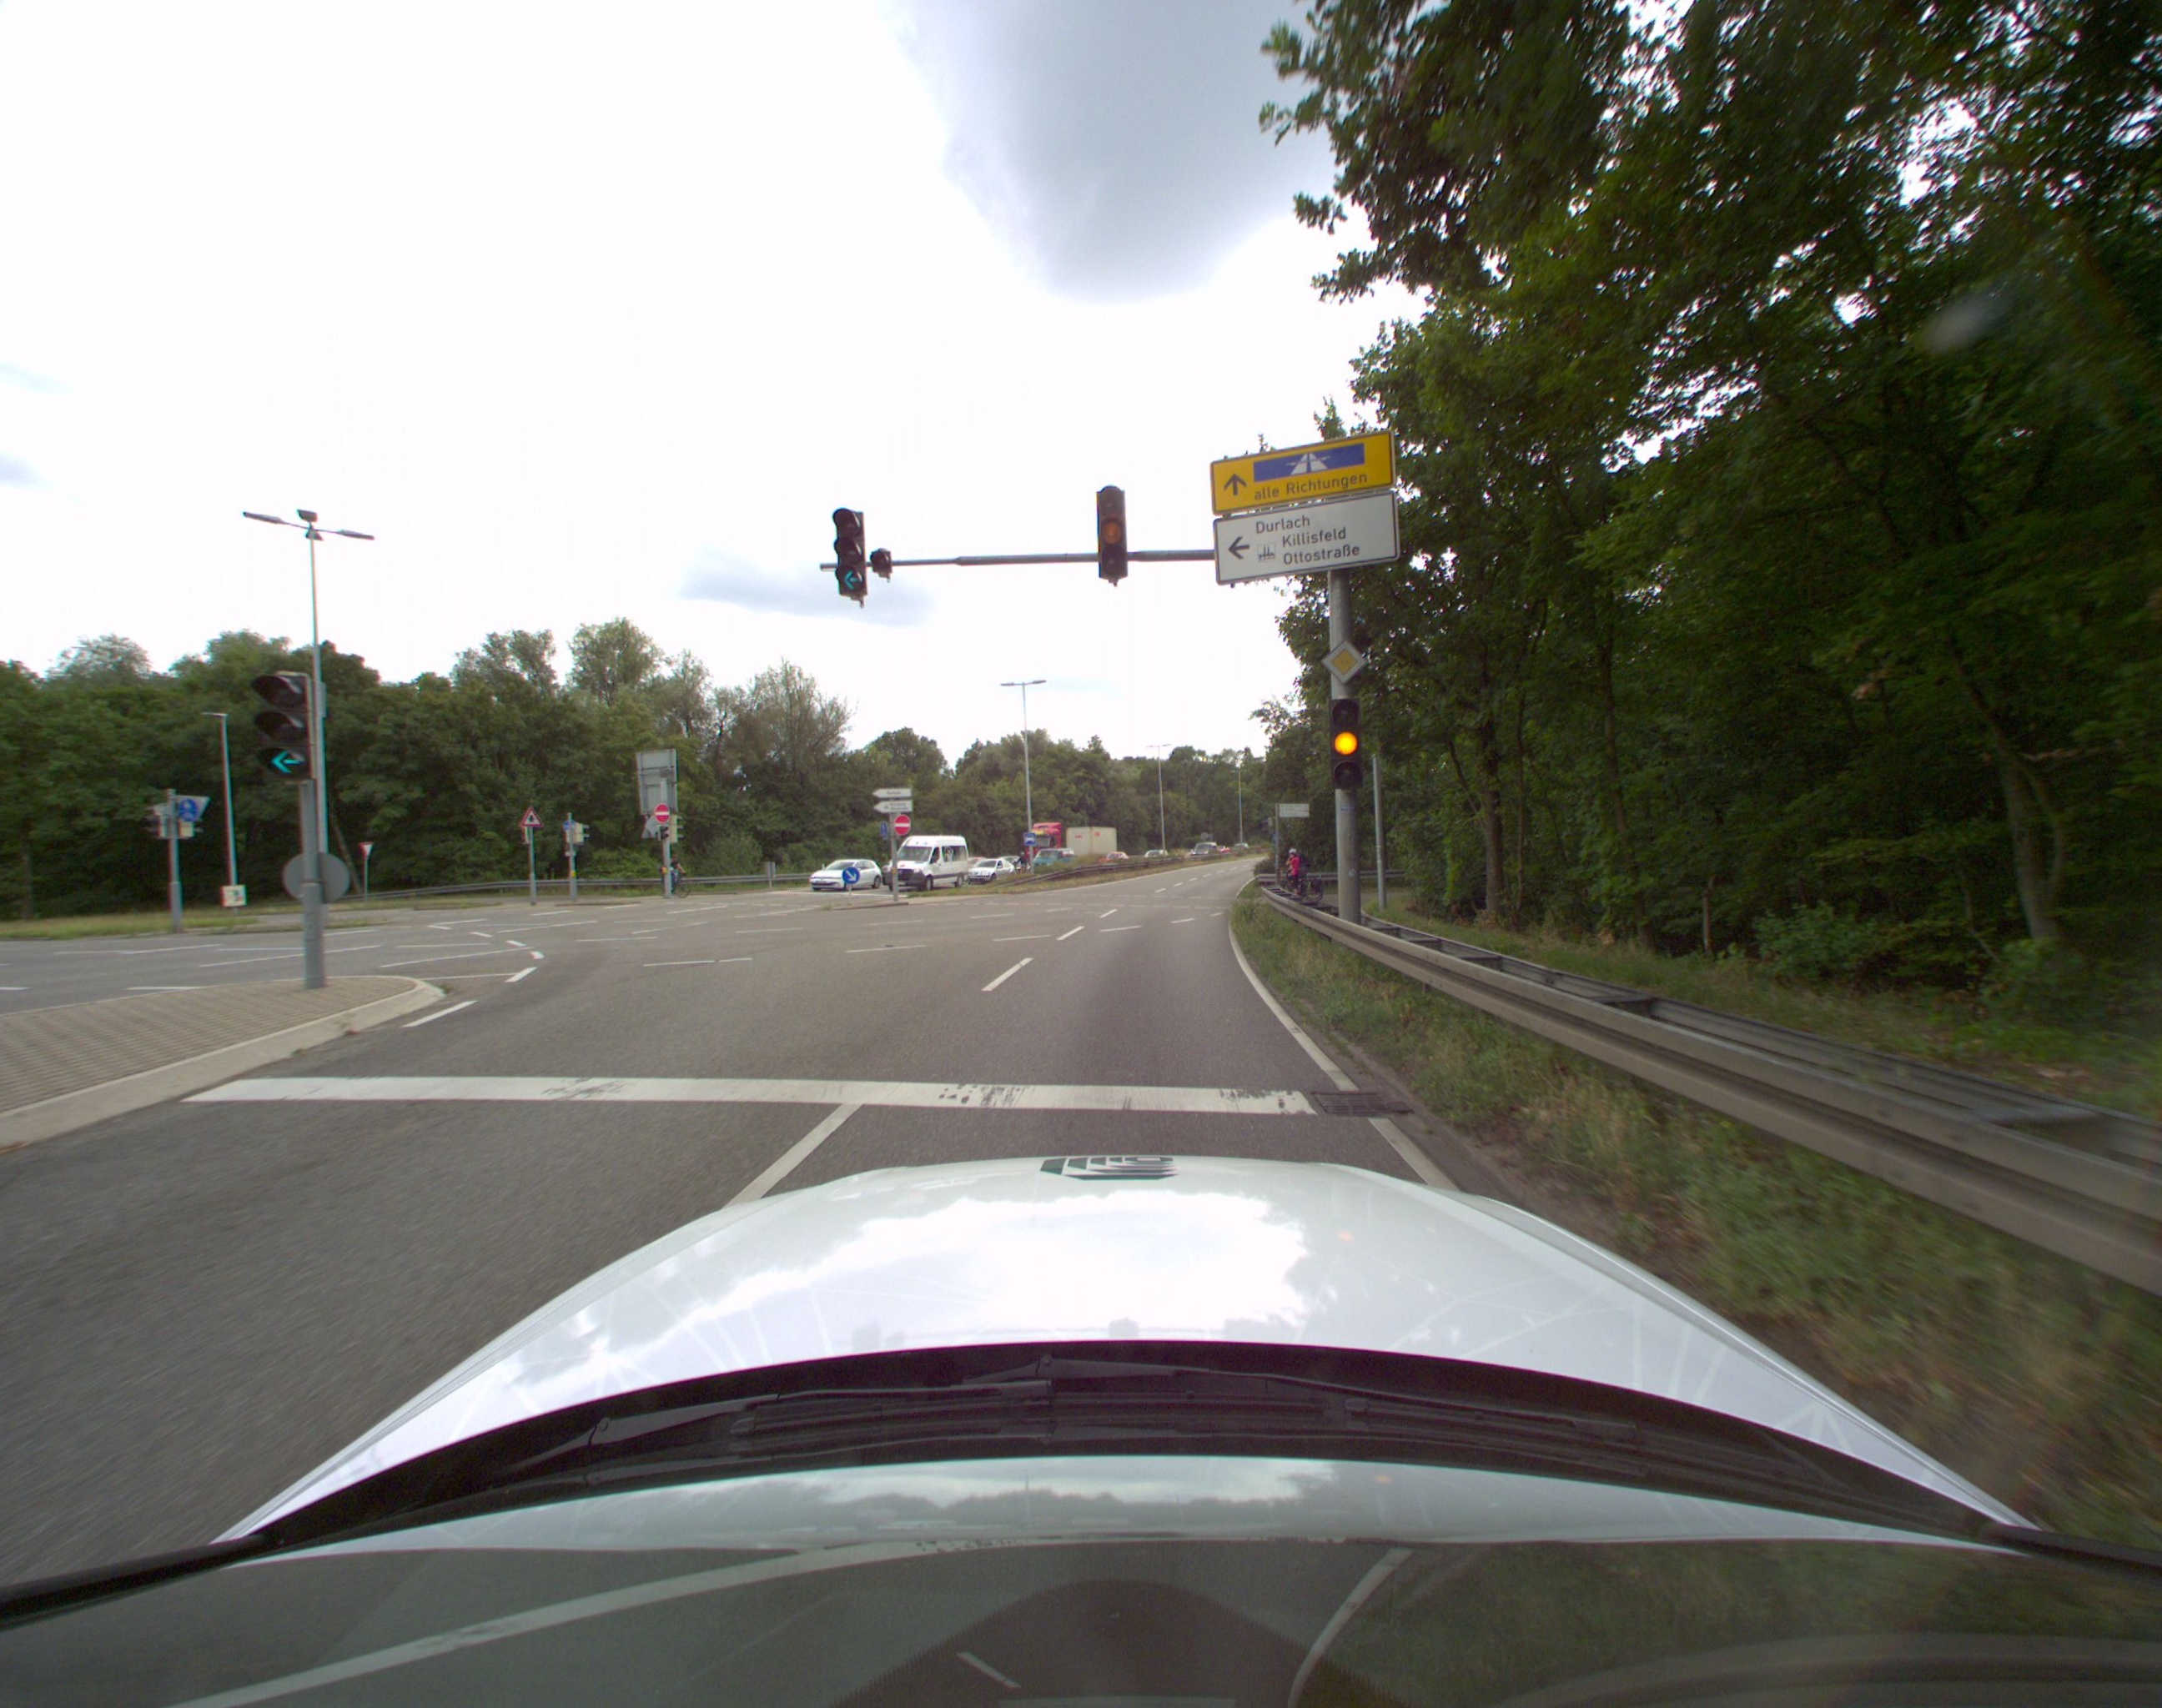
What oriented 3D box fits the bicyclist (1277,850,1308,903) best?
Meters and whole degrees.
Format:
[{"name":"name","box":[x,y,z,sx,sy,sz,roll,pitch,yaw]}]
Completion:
[{"name":"bicyclist","box":[7.029,0.746,27.064,0.843,1.732,0.640,-2,-1,25]}]

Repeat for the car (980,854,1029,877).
[{"name":"car","box":[-5.311,0.776,57.040,1.790,1.466,4.298,-1,0,18]}]

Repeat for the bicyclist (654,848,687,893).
[{"name":"bicyclist","box":[-16.275,0.662,32.292,0.736,1.735,0.805,-3,-1,22]}]

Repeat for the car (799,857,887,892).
[{"name":"car","box":[-11.229,0.925,38.778,1.979,1.547,4.556,-1,0,14]}]

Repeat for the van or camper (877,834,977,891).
[{"name":"van or camper","box":[-7.416,0.377,40.162,2.144,2.589,6.522,-1,0,15]}]

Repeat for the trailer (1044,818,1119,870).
[{"name":"trailer","box":[0.251,-0.838,71.340,2.512,4.147,10.830,-1,0,22]}]

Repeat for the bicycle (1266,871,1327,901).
[{"name":"bicycle","box":[7.527,1.112,28.485,1.960,0.941,0.663,-3,-1,8]}]

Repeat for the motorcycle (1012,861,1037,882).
[{"name":"motorcycle","box":[-3.500,1.055,50.474,0.793,1.224,2.336,-1,0,16]}]

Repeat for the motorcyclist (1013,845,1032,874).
[{"name":"motorcyclist","box":[-3.627,0.341,50.508,0.859,1.823,0.929,-1,0,16]}]

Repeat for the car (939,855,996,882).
[{"name":"car","box":[-7.175,0.880,51.882,1.977,1.614,4.019,-1,0,18]}]

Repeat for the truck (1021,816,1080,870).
[{"name":"truck","box":[-2.373,-0.852,65.044,2.545,4.083,5.653,-1,0,23]}]

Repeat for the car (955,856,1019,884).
[{"name":"car","box":[-5.317,0.892,46.693,1.978,1.498,4.419,-1,0,17]}]

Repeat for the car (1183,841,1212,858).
[{"name":"car","box":[13.171,-0.523,91.949,1.992,1.863,5.307,-1,0,23]}]

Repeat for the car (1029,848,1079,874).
[{"name":"car","box":[-1.853,0.461,57.319,1.789,1.729,4.986,-1,0,20]}]

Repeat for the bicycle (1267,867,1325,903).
[{"name":"bicycle","box":[7.121,1.020,27.011,1.726,1.138,0.634,-2,-1,25]}]

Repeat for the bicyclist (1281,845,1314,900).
[{"name":"bicyclist","box":[7.560,0.652,28.494,0.943,1.844,0.666,-3,-1,8]}]

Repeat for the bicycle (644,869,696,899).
[{"name":"bicycle","box":[-16.268,1.191,32.260,1.921,1.052,0.712,-3,-1,22]}]

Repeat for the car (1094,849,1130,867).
[{"name":"car","box":[2.719,0.340,69.811,1.788,1.432,4.147,-1,0,21]}]

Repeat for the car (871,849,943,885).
[{"name":"car","box":[-9.453,0.675,44.641,1.977,1.902,4.186,-1,0,18]}]
